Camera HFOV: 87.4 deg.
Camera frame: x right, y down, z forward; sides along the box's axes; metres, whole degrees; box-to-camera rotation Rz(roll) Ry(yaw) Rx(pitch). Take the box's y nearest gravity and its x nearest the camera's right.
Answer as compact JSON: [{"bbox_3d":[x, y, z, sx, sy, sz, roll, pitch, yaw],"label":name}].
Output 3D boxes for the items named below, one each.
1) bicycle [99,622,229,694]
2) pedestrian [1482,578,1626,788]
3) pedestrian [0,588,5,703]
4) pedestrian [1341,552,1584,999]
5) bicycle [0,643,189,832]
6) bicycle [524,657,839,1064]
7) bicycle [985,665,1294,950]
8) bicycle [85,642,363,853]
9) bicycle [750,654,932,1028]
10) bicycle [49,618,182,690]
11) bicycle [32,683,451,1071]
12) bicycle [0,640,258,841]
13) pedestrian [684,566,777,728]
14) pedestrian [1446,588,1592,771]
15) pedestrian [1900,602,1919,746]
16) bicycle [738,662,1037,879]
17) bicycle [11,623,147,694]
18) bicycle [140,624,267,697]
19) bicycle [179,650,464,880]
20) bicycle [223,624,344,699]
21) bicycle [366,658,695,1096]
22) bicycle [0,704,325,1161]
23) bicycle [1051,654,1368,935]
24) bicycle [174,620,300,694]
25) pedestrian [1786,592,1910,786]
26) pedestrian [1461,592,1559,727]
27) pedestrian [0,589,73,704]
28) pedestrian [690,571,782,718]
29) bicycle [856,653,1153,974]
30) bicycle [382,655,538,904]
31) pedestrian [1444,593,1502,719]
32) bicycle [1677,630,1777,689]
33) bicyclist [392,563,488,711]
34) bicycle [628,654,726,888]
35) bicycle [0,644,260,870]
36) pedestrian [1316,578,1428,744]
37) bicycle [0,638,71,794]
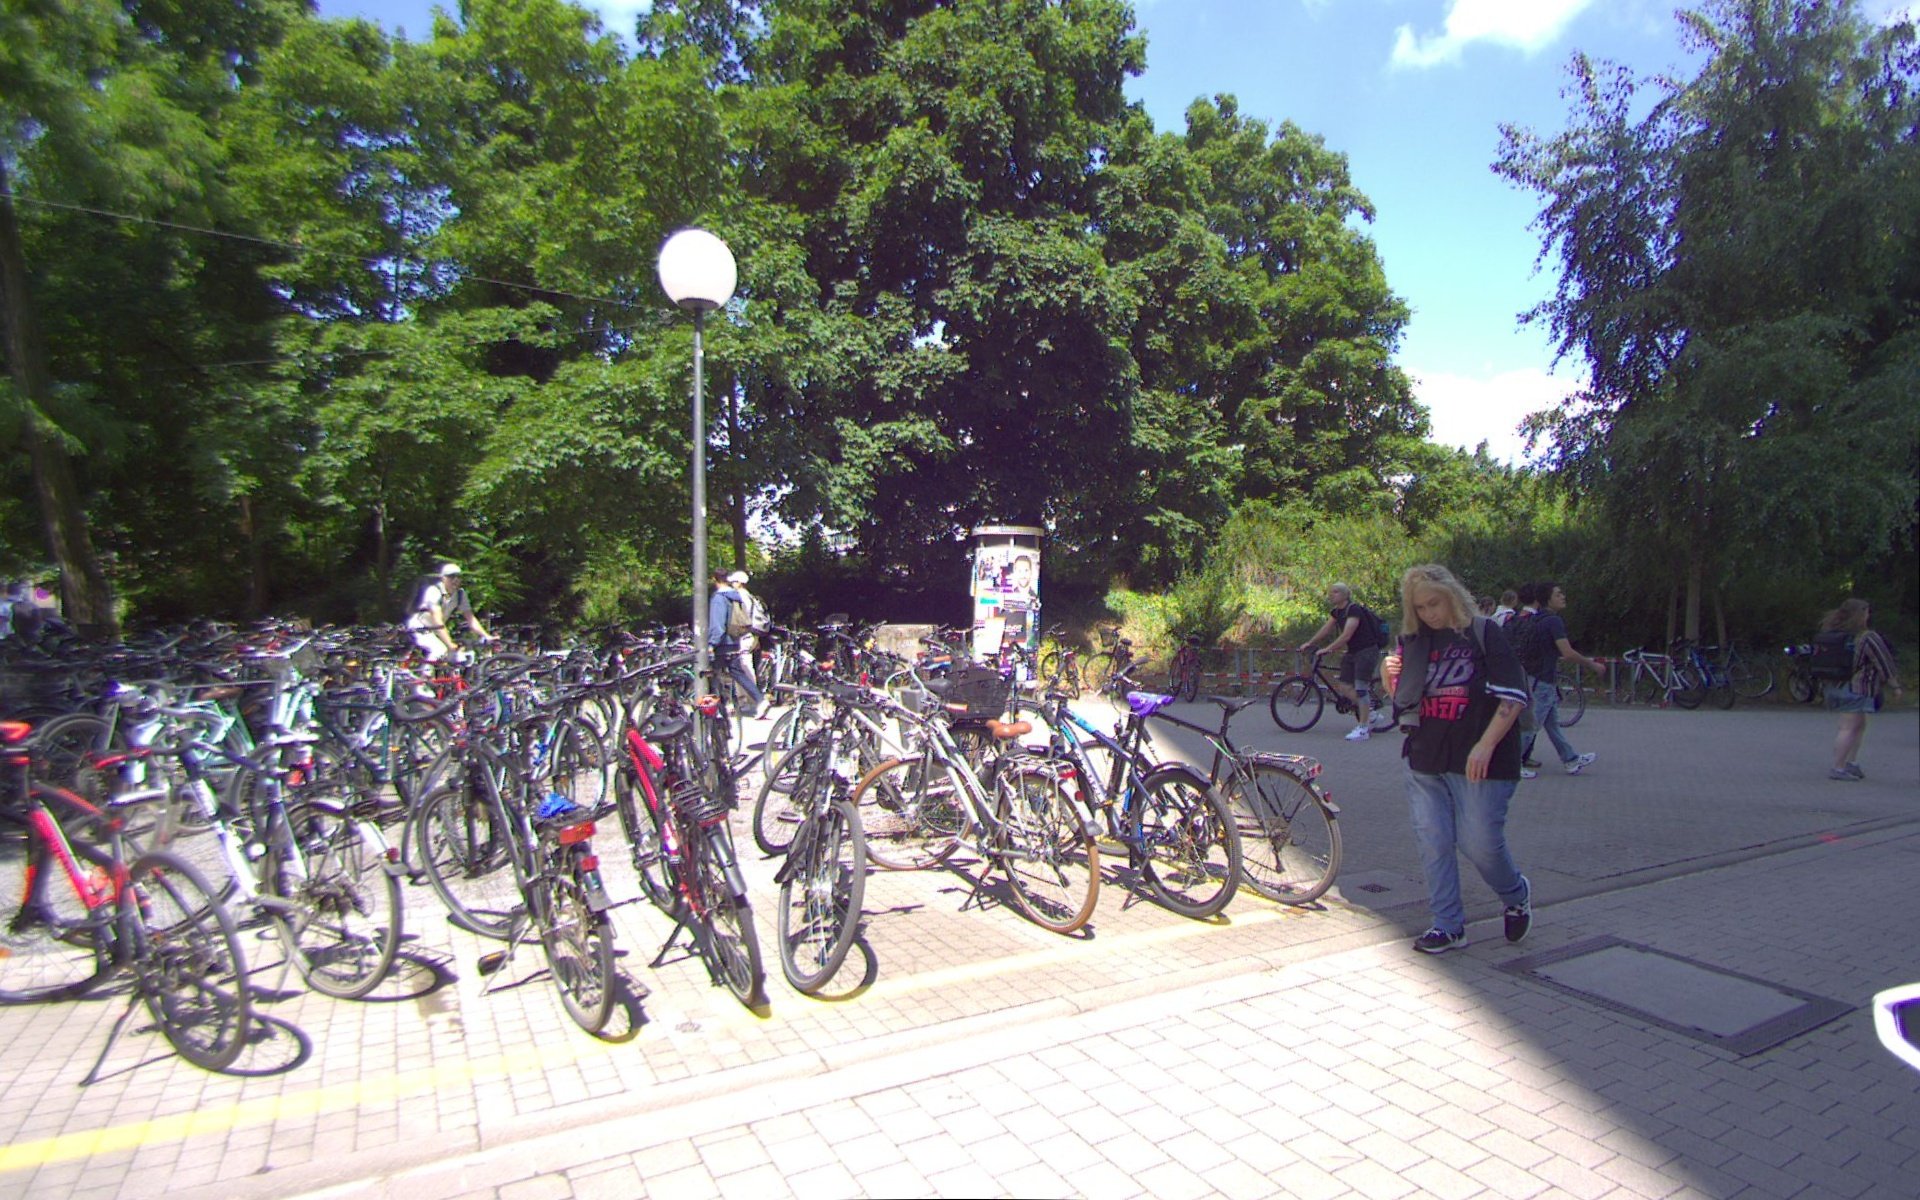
[{"bbox_3d":[-13.310,0.940,16.857,0.507,1.125,1.779,1,-1,12],"label":"bicycle"},{"bbox_3d":[5.468,0.745,9.297,0.922,1.859,0.686,0,-1,4],"label":"pedestrian"},{"bbox_3d":[-14.676,0.663,14.681,0.890,1.702,0.769,0,0,27],"label":"pedestrian"},{"bbox_3d":[2.222,0.669,4.415,0.758,1.702,0.903,1,1,39],"label":"pedestrian"},{"bbox_3d":[-6.015,0.863,6.588,0.464,1.098,1.700,1,-1,6],"label":"bicycle"},{"bbox_3d":[-1.157,0.854,3.913,0.470,1.184,1.678,1,-1,-42],"label":"bicycle"},{"bbox_3d":[0.823,0.930,5.074,0.469,1.106,1.683,1,-1,-35],"label":"bicycle"},{"bbox_3d":[-4.544,0.842,6.362,0.465,1.098,1.700,1,-1,1],"label":"bicycle"},{"bbox_3d":[-0.581,0.865,4.321,0.466,1.184,1.775,1,-1,-17],"label":"bicycle"},{"bbox_3d":[-14.214,0.881,16.974,0.507,1.125,1.779,1,-1,12],"label":"bicycle"},{"bbox_3d":[-2.625,0.888,3.628,1.667,1.076,0.474,1,0,26],"label":"bicycle"},{"bbox_3d":[-5.540,0.839,6.634,0.464,1.098,1.700,1,-1,6],"label":"bicycle"},{"bbox_3d":[-2.700,0.544,11.892,0.865,1.839,0.835,1,0,2],"label":"pedestrian"},{"bbox_3d":[5.550,0.773,10.027,1.043,1.747,0.719,0,-1,3],"label":"pedestrian"},{"bbox_3d":[12.097,0.904,12.264,0.894,1.747,0.680,1,0,-32],"label":"pedestrian"},{"bbox_3d":[-0.399,0.933,5.885,1.678,1.098,0.505,1,0,-27],"label":"bicycle"},{"bbox_3d":[-14.957,0.971,17.115,0.507,1.125,1.779,1,-1,12],"label":"bicycle"},{"bbox_3d":[-12.513,0.968,16.689,0.507,1.125,1.779,1,-1,12],"label":"bicycle"},{"bbox_3d":[-3.671,0.881,5.962,0.464,1.098,1.700,1,-1,5],"label":"bicycle"},{"bbox_3d":[-10.956,0.973,16.342,0.507,1.125,1.779,1,-1,12],"label":"bicycle"},{"bbox_3d":[-1.632,0.844,3.663,1.676,1.184,0.471,0,-1,44],"label":"bicycle"},{"bbox_3d":[-2.744,0.902,3.126,1.667,1.032,0.474,1,0,26],"label":"bicycle"},{"bbox_3d":[1.234,0.911,5.290,0.470,1.174,1.681,1,-1,-38],"label":"bicycle"},{"bbox_3d":[-11.802,0.905,16.464,0.507,1.125,1.779,1,-1,12],"label":"bicycle"},{"bbox_3d":[8.400,0.803,9.506,0.723,1.747,0.680,1,0,-32],"label":"pedestrian"},{"bbox_3d":[7.338,0.781,13.434,0.919,1.747,0.677,0,-1,3],"label":"pedestrian"},{"bbox_3d":[-14.309,0.692,15.414,0.890,1.702,0.769,0,0,27],"label":"pedestrian"},{"bbox_3d":[-2.873,0.560,12.937,0.964,1.828,0.770,1,0,3],"label":"pedestrian"},{"bbox_3d":[0.131,0.881,4.772,0.469,1.184,1.683,1,-1,-35],"label":"bicycle"},{"bbox_3d":[-2.738,0.900,5.637,0.466,1.098,1.694,1,-1,-16],"label":"bicycle"},{"bbox_3d":[7.319,0.784,14.363,0.673,1.747,0.731,-1,-1,24],"label":"pedestrian"},{"bbox_3d":[14.795,1.148,19.393,1.668,1.061,0.473,2,1,-9],"label":"bicycle"},{"bbox_3d":[-5.755,0.398,11.141,0.707,1.589,0.596,1,0,8],"label":"bicyclist"},{"bbox_3d":[-1.685,0.906,5.927,0.466,1.098,1.693,1,-1,-17],"label":"bicycle"},{"bbox_3d":[-5.039,0.844,6.008,0.465,1.098,1.700,1,-1,1],"label":"bicycle"},{"bbox_3d":[4.735,0.692,11.591,1.029,1.859,0.614,1,-1,-1],"label":"pedestrian"},{"bbox_3d":[-7.137,0.833,6.873,0.464,1.098,1.700,1,-1,6],"label":"bicycle"}]
